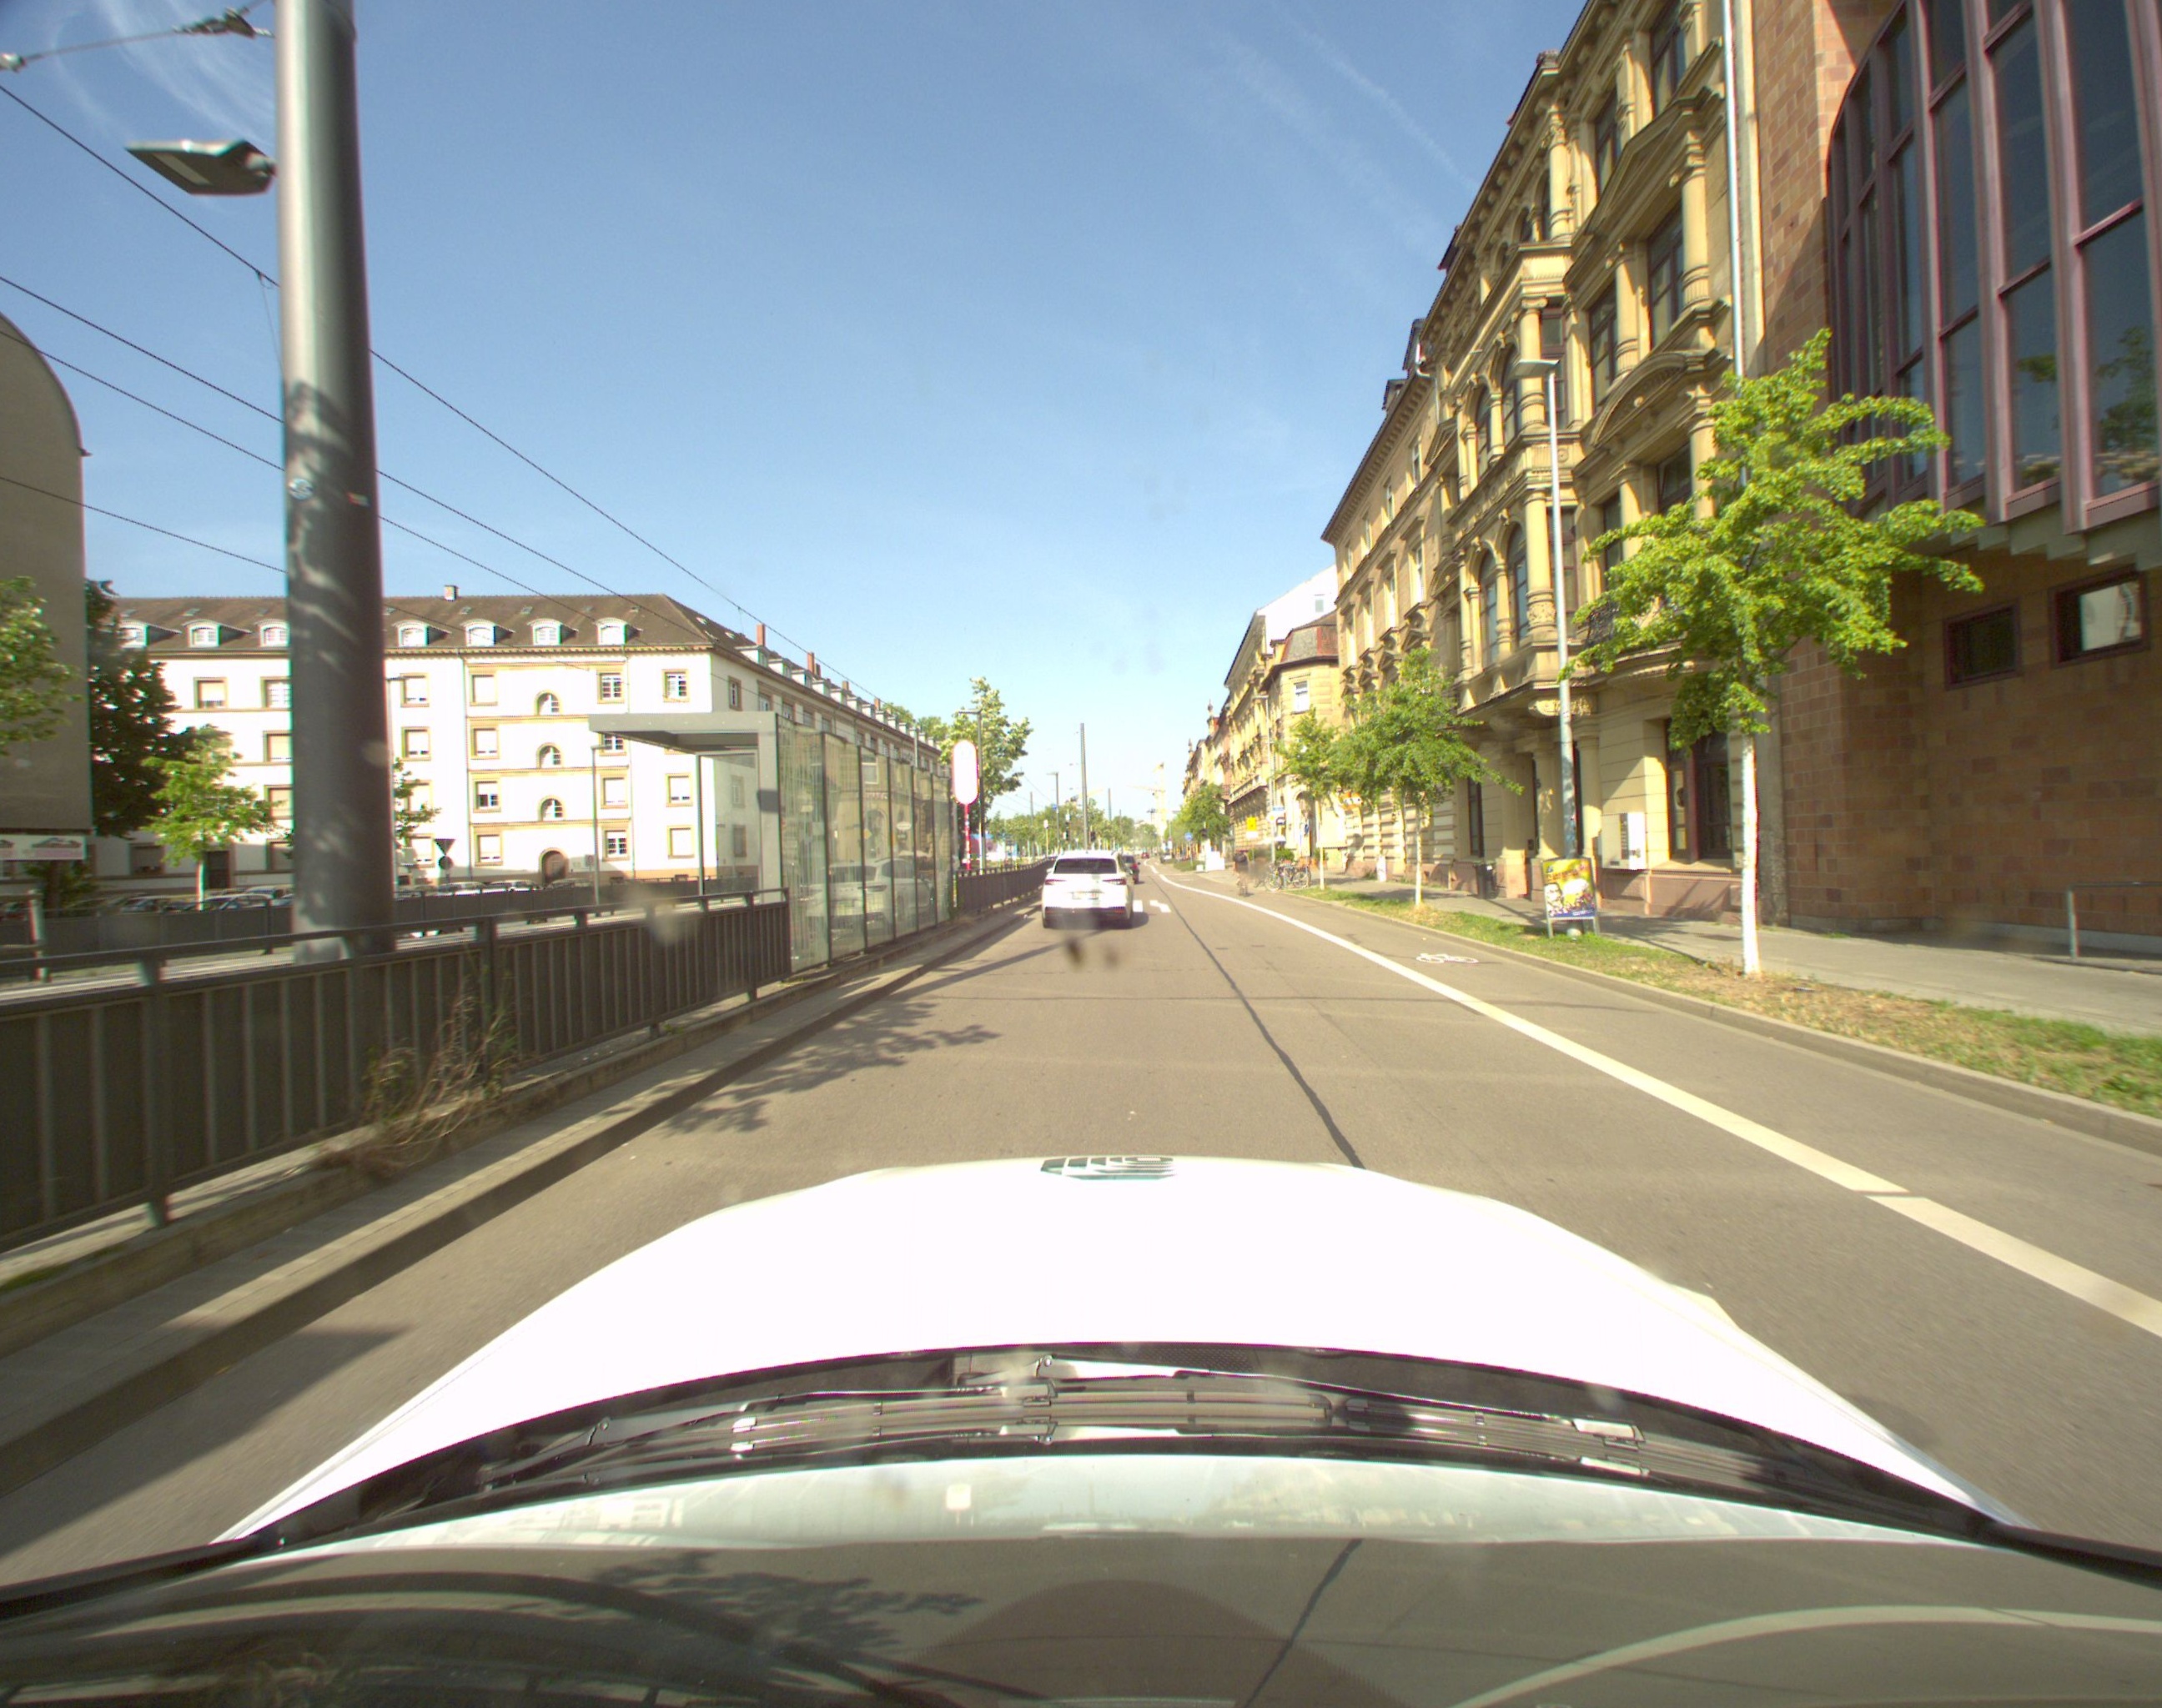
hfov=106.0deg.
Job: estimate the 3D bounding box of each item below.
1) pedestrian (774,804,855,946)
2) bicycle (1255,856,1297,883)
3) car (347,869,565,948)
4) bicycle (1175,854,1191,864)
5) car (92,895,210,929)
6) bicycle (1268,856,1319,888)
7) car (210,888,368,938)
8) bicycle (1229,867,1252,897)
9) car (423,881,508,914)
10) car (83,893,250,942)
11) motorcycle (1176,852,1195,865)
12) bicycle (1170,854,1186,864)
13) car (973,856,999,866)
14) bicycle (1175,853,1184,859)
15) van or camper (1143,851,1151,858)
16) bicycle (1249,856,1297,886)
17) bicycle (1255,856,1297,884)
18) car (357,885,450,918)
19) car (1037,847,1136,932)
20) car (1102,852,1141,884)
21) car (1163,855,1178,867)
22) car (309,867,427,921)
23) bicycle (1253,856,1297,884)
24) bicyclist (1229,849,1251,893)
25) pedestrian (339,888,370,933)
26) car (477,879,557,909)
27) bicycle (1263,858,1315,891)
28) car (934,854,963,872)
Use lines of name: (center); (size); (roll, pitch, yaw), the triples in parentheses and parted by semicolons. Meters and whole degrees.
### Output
pedestrian: (-3.951, 0.302, 12.144); (0.830, 2.014, 1.028); (0, -1, 1)
bicycle: (8.858, 0.712, 37.120); (1.743, 1.087, 0.584); (-4, 0, 7)
car: (-17.361, 1.435, 22.979); (1.980, 1.805, 4.647); (-3, 0, 11)
bicycle: (11.838, 0.573, 94.482); (1.802, 1.096, 0.671); (-4, 0, -1)
car: (-48.181, 2.981, 42.315); (1.668, 1.415, 3.894); (-2, 0, -1)
bicycle: (8.484, 0.724, 32.527); (1.753, 1.087, 0.657); (-5, 0, -6)
car: (-31.263, 2.276, 32.371); (1.758, 1.599, 4.555); (-2, 0, 0)
bicycle: (5.584, 0.955, 28.637); (0.503, 0.953, 1.786); (-2, 1, 3)
car: (-33.642, 2.323, 44.640); (1.668, 1.532, 3.924); (-2, 0, -1)
car: (-36.197, 2.470, 32.418); (1.986, 1.508, 4.002); (-2, 0, 2)
motorcycle: (11.581, 0.486, 90.389); (2.048, 1.287, 0.698); (-4, 1, -31)
bicycle: (11.453, 0.580, 95.753); (1.777, 1.054, 0.373); (-4, 0, 2)
car: (-26.460, 1.872, 227.244); (6.890, 2.638, 2.500); (0, -1, -17)
bicycle: (16.625, 0.318, 137.506); (1.888, 1.082, 0.449); (0, -3, -44)
van or camper: (16.323, 0.228, 201.405); (1.985, 1.655, 4.004); (-3, 0, 4)
bicycle: (7.972, 0.714, 33.804); (1.761, 1.087, 0.668); (-5, 0, -19)
bicycle: (8.732, 0.707, 36.525); (1.743, 1.087, 0.584); (-4, 0, 7)
car: (-36.153, 2.506, 43.579); (1.668, 1.415, 3.924); (-2, 0, -1)
car: (0.249, 0.683, 17.869); (1.809, 1.590, 4.412); (-1, 0, 4)
car: (2.045, 0.664, 40.291); (1.746, 1.484, 4.412); (-1, 0, 5)
car: (12.857, 1.048, 117.414); (1.763, 1.588, 4.248); (-3, 0, 1)
car: (-38.477, 2.076, 44.143); (1.989, 2.583, 5.048); (-2, 0, -3)
bicycle: (8.382, 0.697, 35.288); (1.745, 1.087, 0.670); (-4, 0, 9)
bicyclist: (5.564, 0.581, 28.487); (0.581, 1.482, 0.932); (-2, 1, 2)
pedestrian: (-26.937, 2.093, 30.217); (0.812, 1.583, 0.672); (-2, 0, -41)
car: (-31.168, 2.176, 45.133); (1.668, 1.405, 3.998); (-2, 0, -1)
bicycle: (7.911, 0.777, 30.992); (1.753, 1.087, 0.610); (-5, 0, -6)
car: (-15.020, 0.964, 92.375); (1.984, 1.918, 5.160); (0, 0, 5)
